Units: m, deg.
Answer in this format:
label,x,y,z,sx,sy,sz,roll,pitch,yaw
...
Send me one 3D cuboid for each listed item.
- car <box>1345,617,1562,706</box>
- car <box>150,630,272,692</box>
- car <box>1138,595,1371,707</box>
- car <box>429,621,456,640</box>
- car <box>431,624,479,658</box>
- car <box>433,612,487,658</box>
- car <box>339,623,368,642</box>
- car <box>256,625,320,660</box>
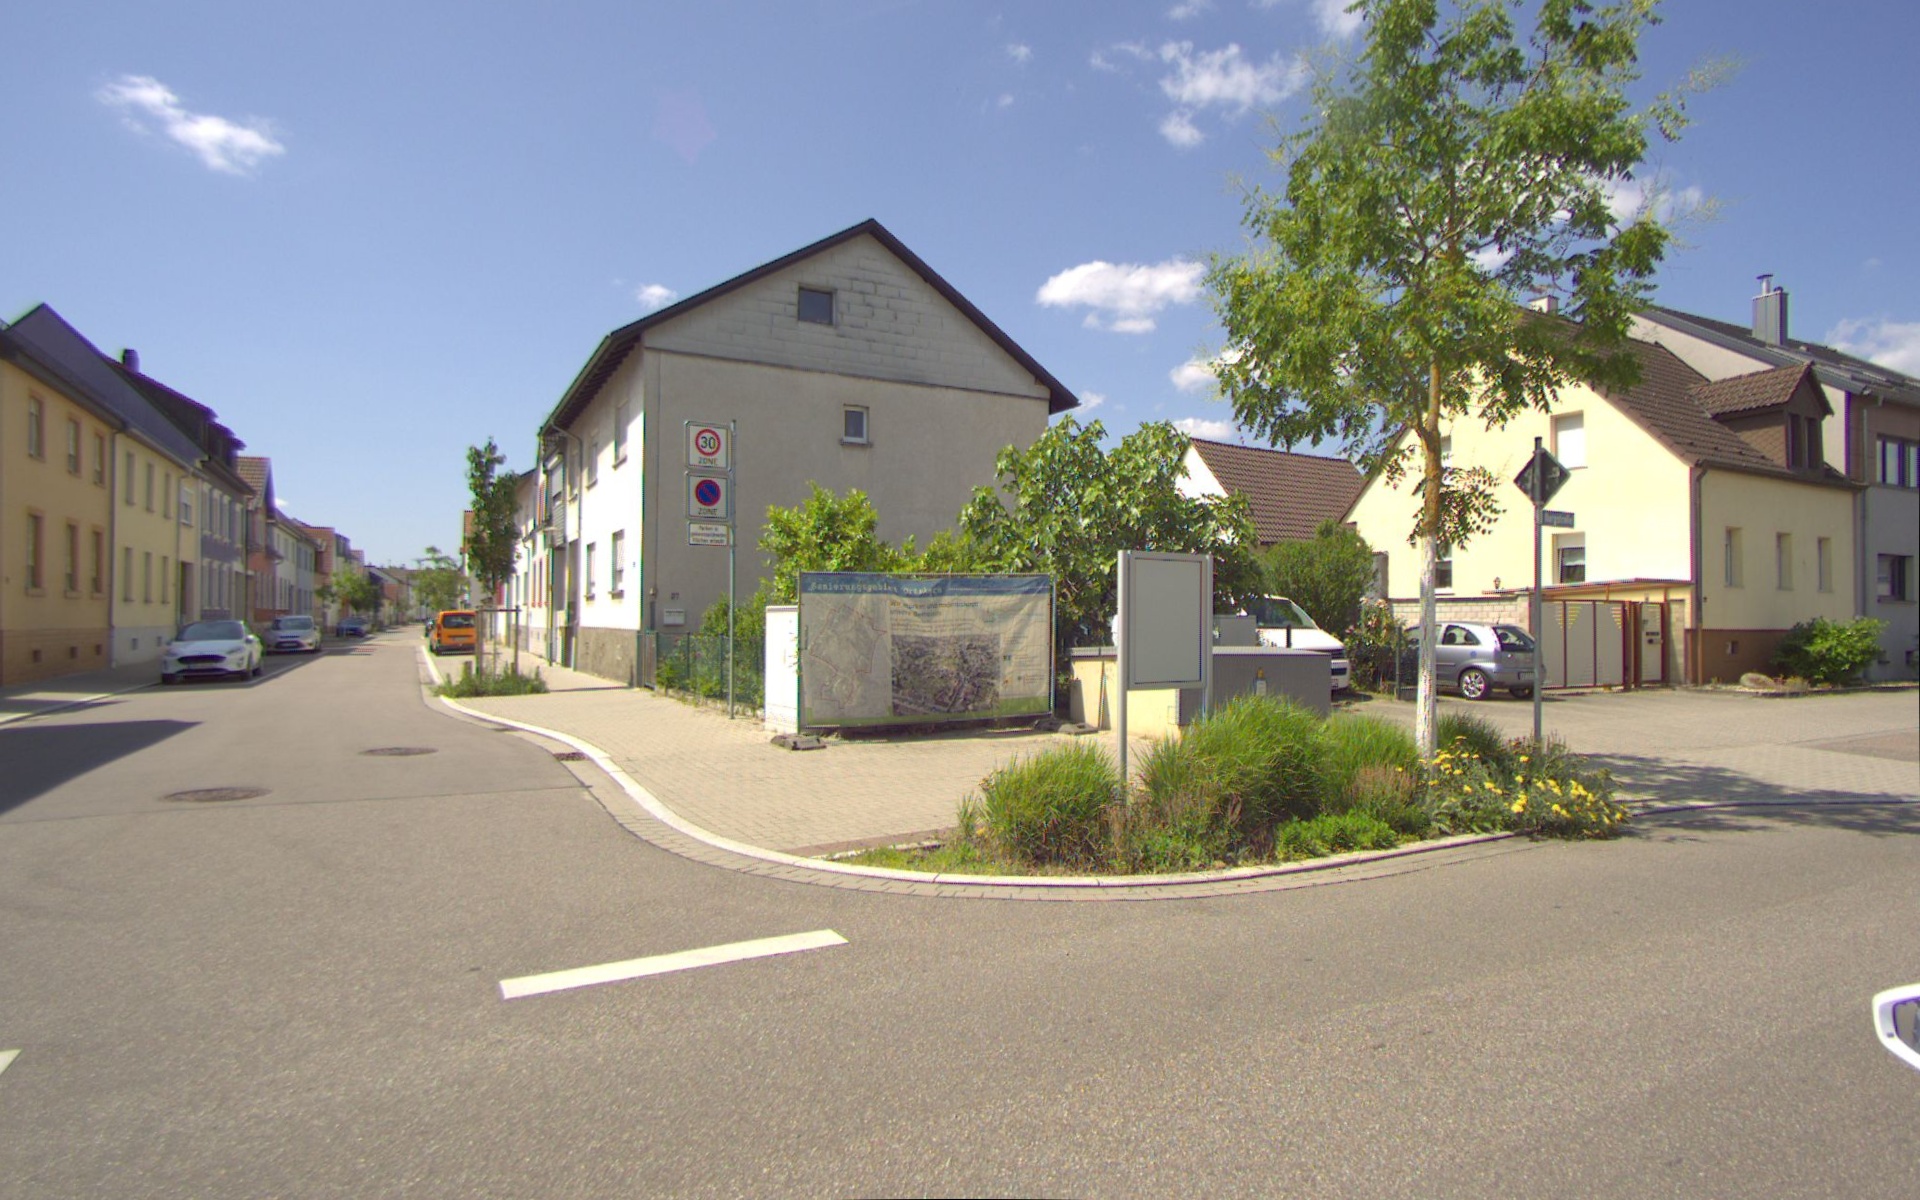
label,x,y,z,sx,sy,sz,roll,pitch,yaw
car,9.629,1.137,19.847,1.768,1.490,3.513,1,0,-25
car,-18.700,1.460,25.267,1.868,1.320,3.970,0,0,-28
car,5.375,0.845,18.830,1.975,1.824,3.970,1,0,-28
car,-41.956,2.443,81.345,1.868,1.384,3.970,-1,0,-28
car,-23.320,1.859,46.298,1.868,1.384,3.970,-1,0,-28
car,-20.910,1.420,41.902,1.868,1.752,3.970,-1,0,-28
car,-46.842,2.482,77.637,1.639,1.320,4.121,0,0,-28
car,-28.745,1.792,43.081,1.868,1.320,3.970,0,0,-28
